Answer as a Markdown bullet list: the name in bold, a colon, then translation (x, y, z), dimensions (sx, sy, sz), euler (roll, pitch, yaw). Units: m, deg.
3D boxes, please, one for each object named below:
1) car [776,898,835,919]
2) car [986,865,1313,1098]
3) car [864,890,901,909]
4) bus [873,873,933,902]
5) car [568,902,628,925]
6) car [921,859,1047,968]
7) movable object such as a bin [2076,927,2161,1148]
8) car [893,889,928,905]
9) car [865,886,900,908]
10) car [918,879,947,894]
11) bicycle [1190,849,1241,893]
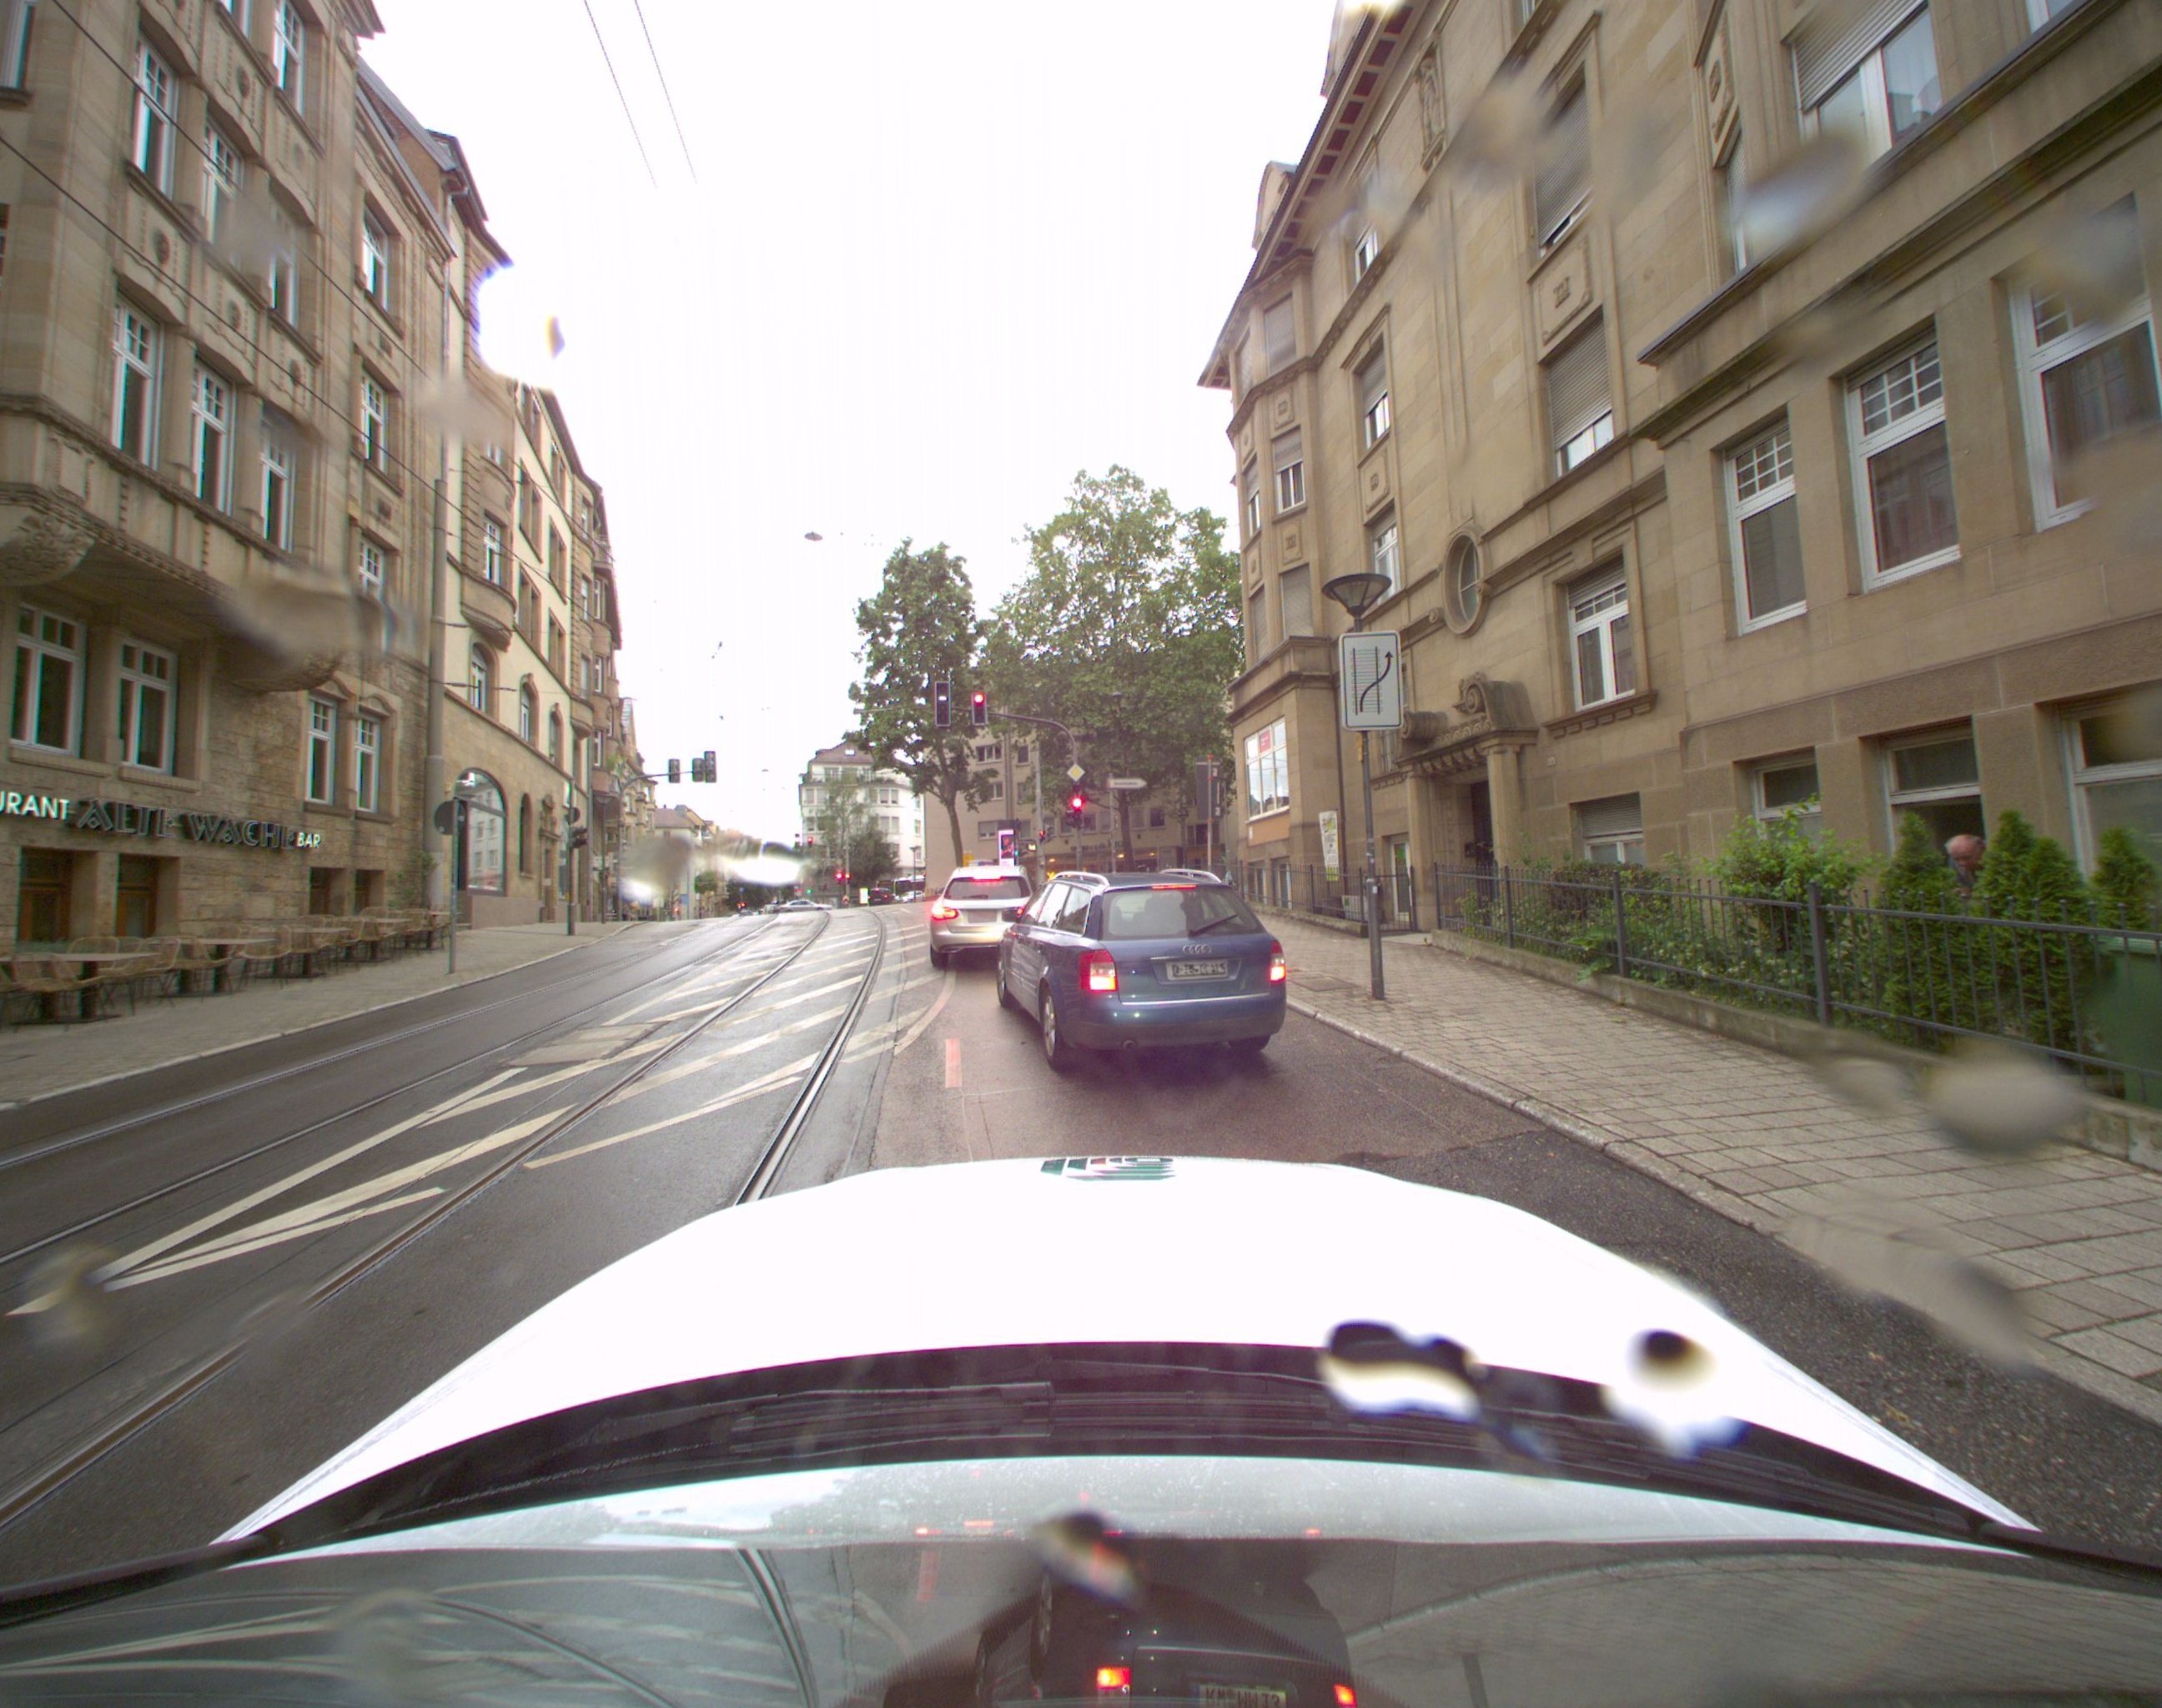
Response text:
- **car**: translation (-24.619, 4.871, 72.975), dimensions (4.641, 1.510, 1.798), euler (-3, 0, -4)
- **car**: translation (0.275, 0.837, 7.351), dimensions (1.713, 1.415, 4.016), euler (-1, 0, -14)
- **car**: translation (-20.465, 4.667, 84.188), dimensions (1.779, 1.614, 4.020), euler (-3, 0, 20)
- **bus**: translation (-20.648, 3.839, 95.090), dimensions (2.832, 2.861, 8.771), euler (-3, 0, 16)
- **car**: translation (-39.286, 4.814, 66.375), dimensions (4.008, 1.510, 1.785), euler (-2, 0, -26)
- **car**: translation (-1.500, 0.839, 13.096), dimensions (1.708, 1.456, 3.546), euler (-1, 0, -5)
- **movable object such as a bin**: translation (5.402, 0.888, 3.911), dimensions (0.537, 1.026, 0.602), euler (2, -2, -10)
- **car**: translation (-18.594, 4.667, 89.044), dimensions (1.779, 1.510, 4.020), euler (-3, 0, 20)
- **car**: translation (-16.677, 3.557, 68.578), dimensions (1.788, 1.510, 4.000), euler (-5, 0, 1)
- **car**: translation (-18.625, 4.073, 102.250), dimensions (1.779, 1.510, 4.020), euler (-3, 0, 20)
- **bicycle**: translation (3.919, 0.488, 23.809), dimensions (1.300, 1.173, 0.524), euler (-4, 0, -11)
